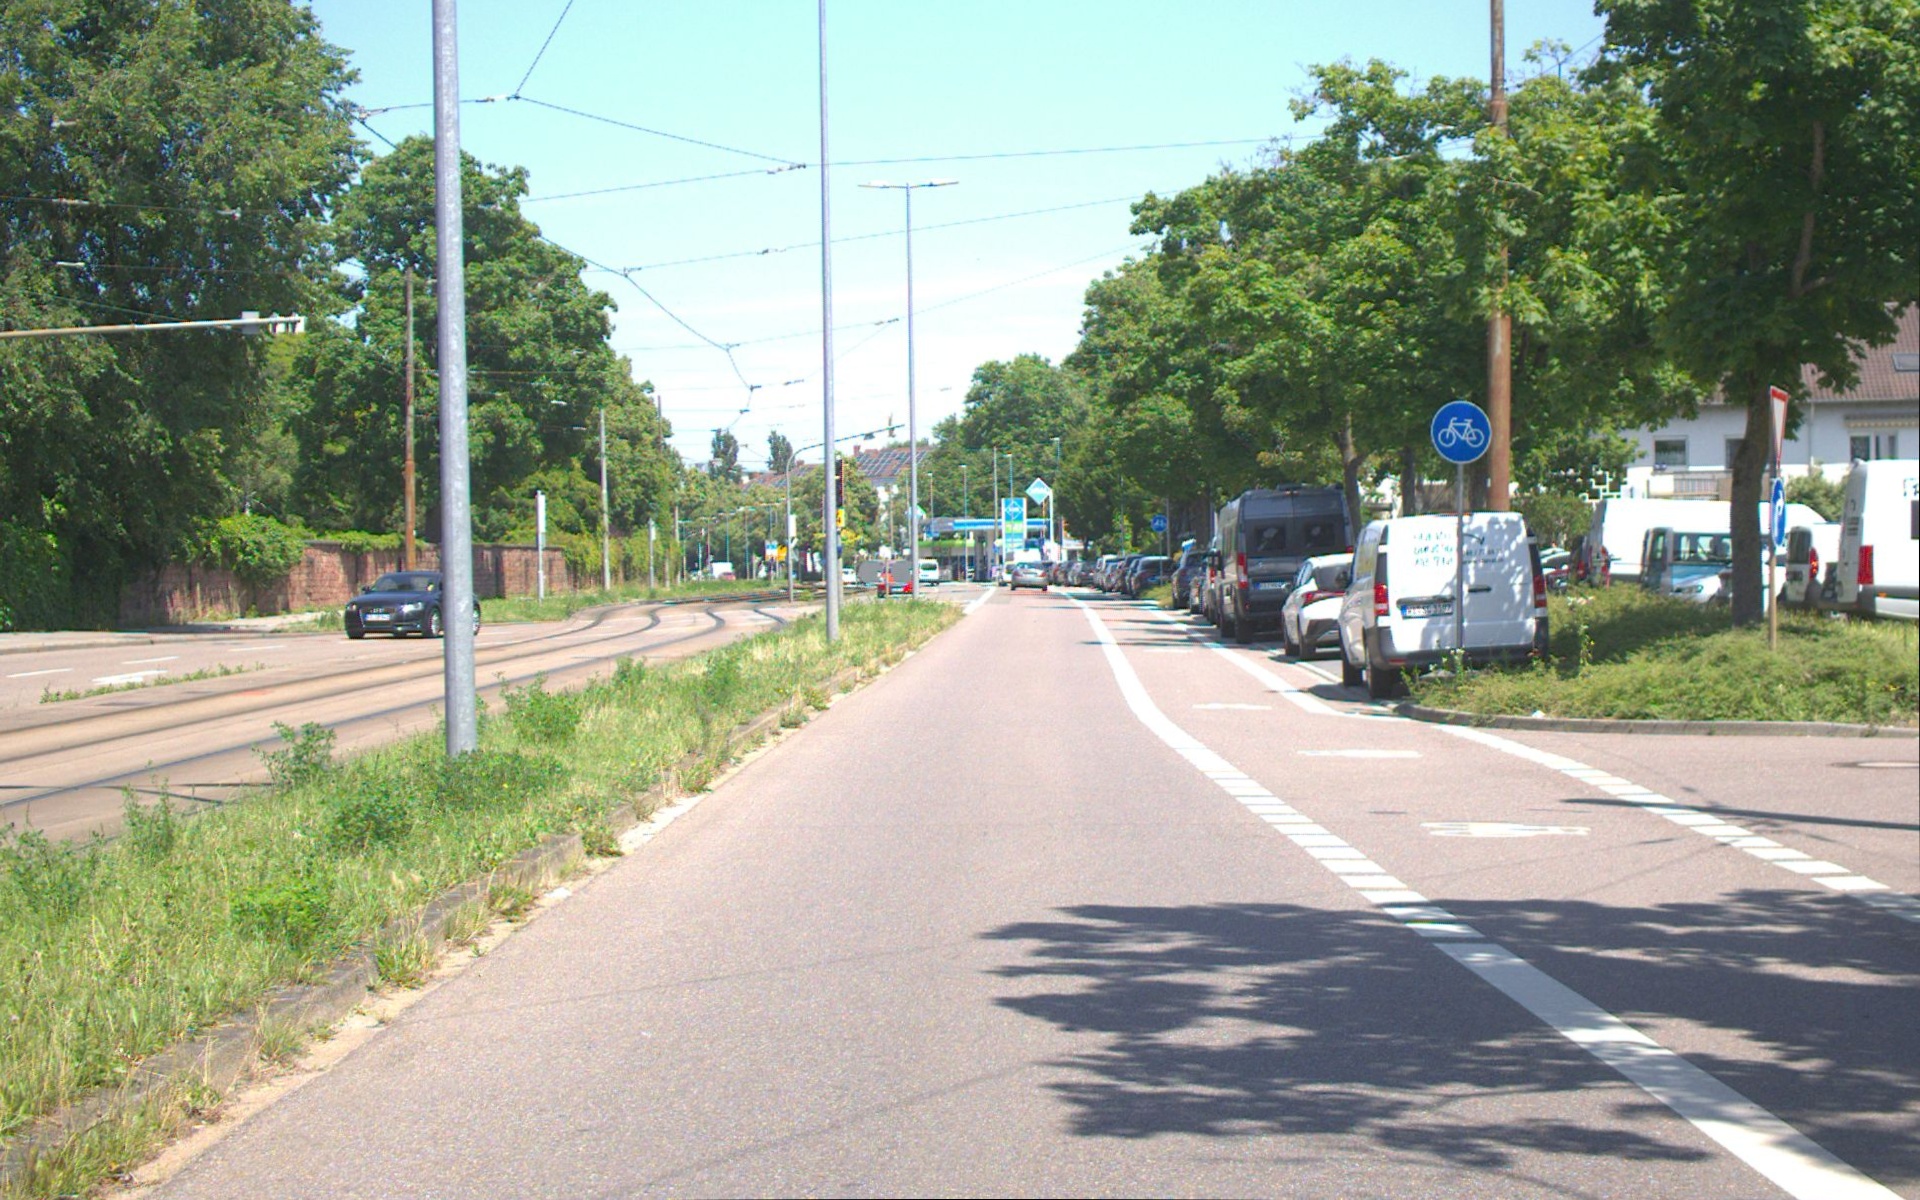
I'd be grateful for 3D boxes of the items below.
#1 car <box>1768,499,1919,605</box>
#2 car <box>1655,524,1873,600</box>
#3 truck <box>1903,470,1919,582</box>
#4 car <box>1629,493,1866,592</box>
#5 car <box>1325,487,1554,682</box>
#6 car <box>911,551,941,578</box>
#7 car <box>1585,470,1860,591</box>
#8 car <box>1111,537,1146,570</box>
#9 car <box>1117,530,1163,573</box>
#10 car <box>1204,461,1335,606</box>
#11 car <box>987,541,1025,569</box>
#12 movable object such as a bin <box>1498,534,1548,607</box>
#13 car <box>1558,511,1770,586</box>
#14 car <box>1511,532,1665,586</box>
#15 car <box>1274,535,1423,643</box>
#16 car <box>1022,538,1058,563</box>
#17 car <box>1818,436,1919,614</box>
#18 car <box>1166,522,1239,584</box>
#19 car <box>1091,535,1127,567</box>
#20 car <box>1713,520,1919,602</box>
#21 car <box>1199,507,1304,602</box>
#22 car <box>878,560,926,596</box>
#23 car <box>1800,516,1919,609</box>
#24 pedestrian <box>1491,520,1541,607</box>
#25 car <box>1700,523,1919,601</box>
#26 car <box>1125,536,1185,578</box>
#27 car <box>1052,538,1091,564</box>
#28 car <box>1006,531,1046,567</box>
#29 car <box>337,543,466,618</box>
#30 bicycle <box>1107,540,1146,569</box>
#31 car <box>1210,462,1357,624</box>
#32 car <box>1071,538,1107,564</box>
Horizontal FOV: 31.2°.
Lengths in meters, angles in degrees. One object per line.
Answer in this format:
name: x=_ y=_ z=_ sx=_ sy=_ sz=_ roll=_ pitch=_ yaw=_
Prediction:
car: x=16.442 y=-0.825 z=60.691 sx=3.778 sy=1.778 sz=1.954 roll=1 pitch=1 yaw=-3
car: x=16.053 y=-0.765 z=68.760 sx=3.885 sy=1.401 sz=1.728 roll=1 pitch=1 yaw=-3
truck: x=29.802 y=-2.165 z=94.631 sx=6.946 sy=3.074 sz=2.425 roll=-2 pitch=1 yaw=1
car: x=16.383 y=-1.196 z=71.652 sx=4.405 sy=1.902 sz=1.954 roll=1 pitch=1 yaw=-3
car: x=5.222 y=-0.212 z=38.040 sx=1.879 sy=1.910 sz=5.124 roll=-3 pitch=1 yaw=2
car: x=-2.585 y=-2.704 z=261.733 sx=1.993 sy=2.007 sz=4.000 roll=2 pitch=0 yaw=-3
car: x=16.507 y=-1.512 z=74.640 sx=5.490 sy=2.451 sz=2.095 roll=2 pitch=1 yaw=2
car: x=8.239 y=-2.292 z=168.416 sx=1.519 sy=1.524 sz=3.816 roll=-3 pitch=1 yaw=1
car: x=7.658 y=-2.090 z=146.505 sx=1.841 sy=1.700 sz=4.626 roll=-3 pitch=1 yaw=2
car: x=6.058 y=-1.314 z=67.976 sx=1.997 sy=2.627 sz=6.143 roll=-3 pitch=1 yaw=1
car: x=2.825 y=-2.780 z=213.520 sx=1.755 sy=1.625 sz=4.325 roll=-3 pitch=1 yaw=-6
movable object such as a bin: x=10.489 y=-0.550 z=64.086 sx=0.792 sy=1.348 sz=0.889 roll=-1 pitch=1 yaw=1
car: x=16.874 y=-1.238 z=82.589 sx=4.692 sy=1.638 sz=1.954 roll=2 pitch=1 yaw=2
car: x=17.010 y=-1.110 z=93.268 sx=3.860 sy=1.353 sz=1.770 roll=2 pitch=1 yaw=2
car: x=5.582 y=-0.191 z=49.791 sx=1.722 sy=1.423 sz=4.209 roll=-3 pitch=1 yaw=2
car: x=5.547 y=-3.426 z=238.595 sx=1.755 sy=1.625 sz=4.325 roll=-3 pitch=1 yaw=-8
car: x=15.993 y=-1.020 z=50.237 sx=6.342 sy=2.520 sz=2.263 roll=2 pitch=1 yaw=4
car: x=6.828 y=-1.307 z=97.274 sx=1.712 sy=1.627 sz=4.708 roll=-3 pitch=0 yaw=1
car: x=8.437 y=-2.811 z=194.586 sx=1.841 sy=1.688 sz=4.778 roll=-3 pitch=1 yaw=1
car: x=16.281 y=-0.708 z=63.571 sx=4.276 sy=1.401 sz=1.728 roll=2 pitch=1 yaw=-1
car: x=6.291 y=-1.011 z=74.679 sx=1.998 sy=1.872 sz=5.275 roll=-3 pitch=1 yaw=3
car: x=-2.383 y=-0.913 z=142.366 sx=1.706 sy=1.409 sz=4.281 roll=0 pitch=1 yaw=3
car: x=16.668 y=-0.604 z=58.094 sx=4.405 sy=1.500 sz=1.954 roll=2 pitch=1 yaw=-2
pedestrian: x=10.512 y=-0.698 z=65.004 sx=0.805 sy=1.619 sz=0.943 roll=-1 pitch=1 yaw=1
car: x=16.457 y=-0.740 z=66.426 sx=3.886 sy=1.401 sz=1.728 roll=2 pitch=1 yaw=-1
car: x=7.293 y=-1.622 z=128.910 sx=1.840 sy=1.431 sz=4.825 roll=-3 pitch=1 yaw=-1
car: x=7.205 y=-3.178 z=222.660 sx=1.706 sy=1.557 sz=4.325 roll=-3 pitch=1 yaw=-8
car: x=3.209 y=-2.515 z=167.504 sx=1.756 sy=1.625 sz=4.324 roll=-3 pitch=1 yaw=3
car: x=-11.351 y=-0.424 z=70.125 sx=1.756 sy=1.443 sz=4.123 roll=1 pitch=1 yaw=3
bicycle: x=8.051 y=-2.194 z=166.383 sx=1.774 sy=1.224 sz=0.683 roll=-5 pitch=0 yaw=6
car: x=5.677 y=-1.026 z=61.051 sx=1.997 sy=2.627 sz=6.079 roll=-3 pitch=1 yaw=1
car: x=7.897 y=-3.007 z=211.460 sx=1.706 sy=1.487 sz=5.039 roll=-3 pitch=1 yaw=-3
